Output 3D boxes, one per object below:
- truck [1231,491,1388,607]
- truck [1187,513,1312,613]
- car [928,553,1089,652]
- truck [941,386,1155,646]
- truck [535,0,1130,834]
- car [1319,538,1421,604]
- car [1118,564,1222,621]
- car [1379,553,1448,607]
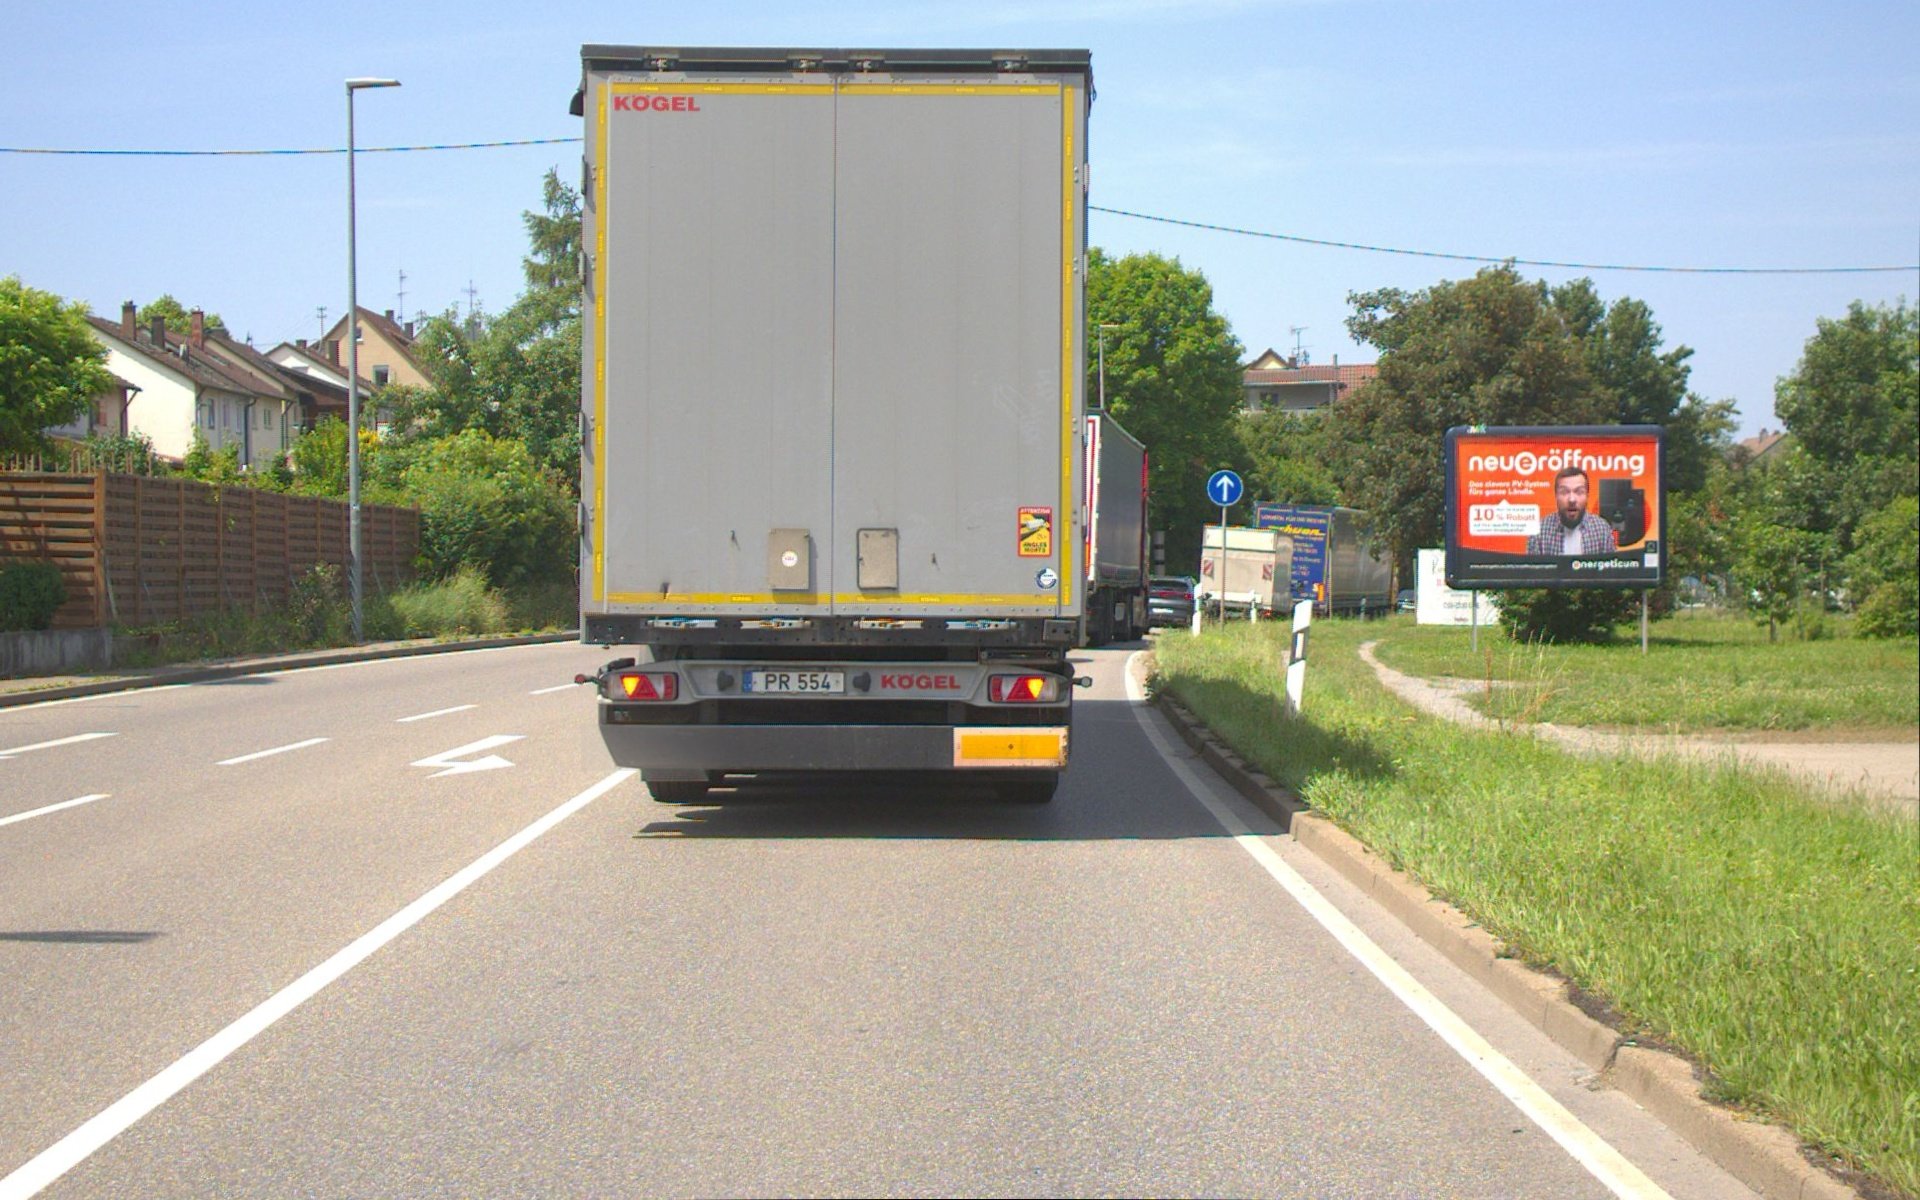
[{"bbox_3d":[11.549,-1.682,112.698,3.435,3.592,9.346,1,1,16],"label":"truck"},{"bbox_3d":[8.522,-1.054,100.705,2.545,2.793,6.027,1,0,15],"label":"truck"},{"bbox_3d":[0.743,0.039,49.765,1.819,1.342,3.846,1,0,9],"label":"car"},{"bbox_3d":[1.930,-1.386,65.405,2.761,4.274,16.411,1,0,6],"label":"truck"},{"bbox_3d":[-0.647,-1.008,22.516,2.822,4.113,11.444,1,1,0],"label":"truck"},{"bbox_3d":[14.742,-1.045,123.207,2.534,2.269,6.376,1,1,17],"label":"car"},{"bbox_3d":[5.384,-0.186,87.656,1.995,1.371,3.997,1,0,13],"label":"car"},{"bbox_3d":[17.628,-0.769,133.564,1.995,2.007,3.997,1,0,17],"label":"car"}]
